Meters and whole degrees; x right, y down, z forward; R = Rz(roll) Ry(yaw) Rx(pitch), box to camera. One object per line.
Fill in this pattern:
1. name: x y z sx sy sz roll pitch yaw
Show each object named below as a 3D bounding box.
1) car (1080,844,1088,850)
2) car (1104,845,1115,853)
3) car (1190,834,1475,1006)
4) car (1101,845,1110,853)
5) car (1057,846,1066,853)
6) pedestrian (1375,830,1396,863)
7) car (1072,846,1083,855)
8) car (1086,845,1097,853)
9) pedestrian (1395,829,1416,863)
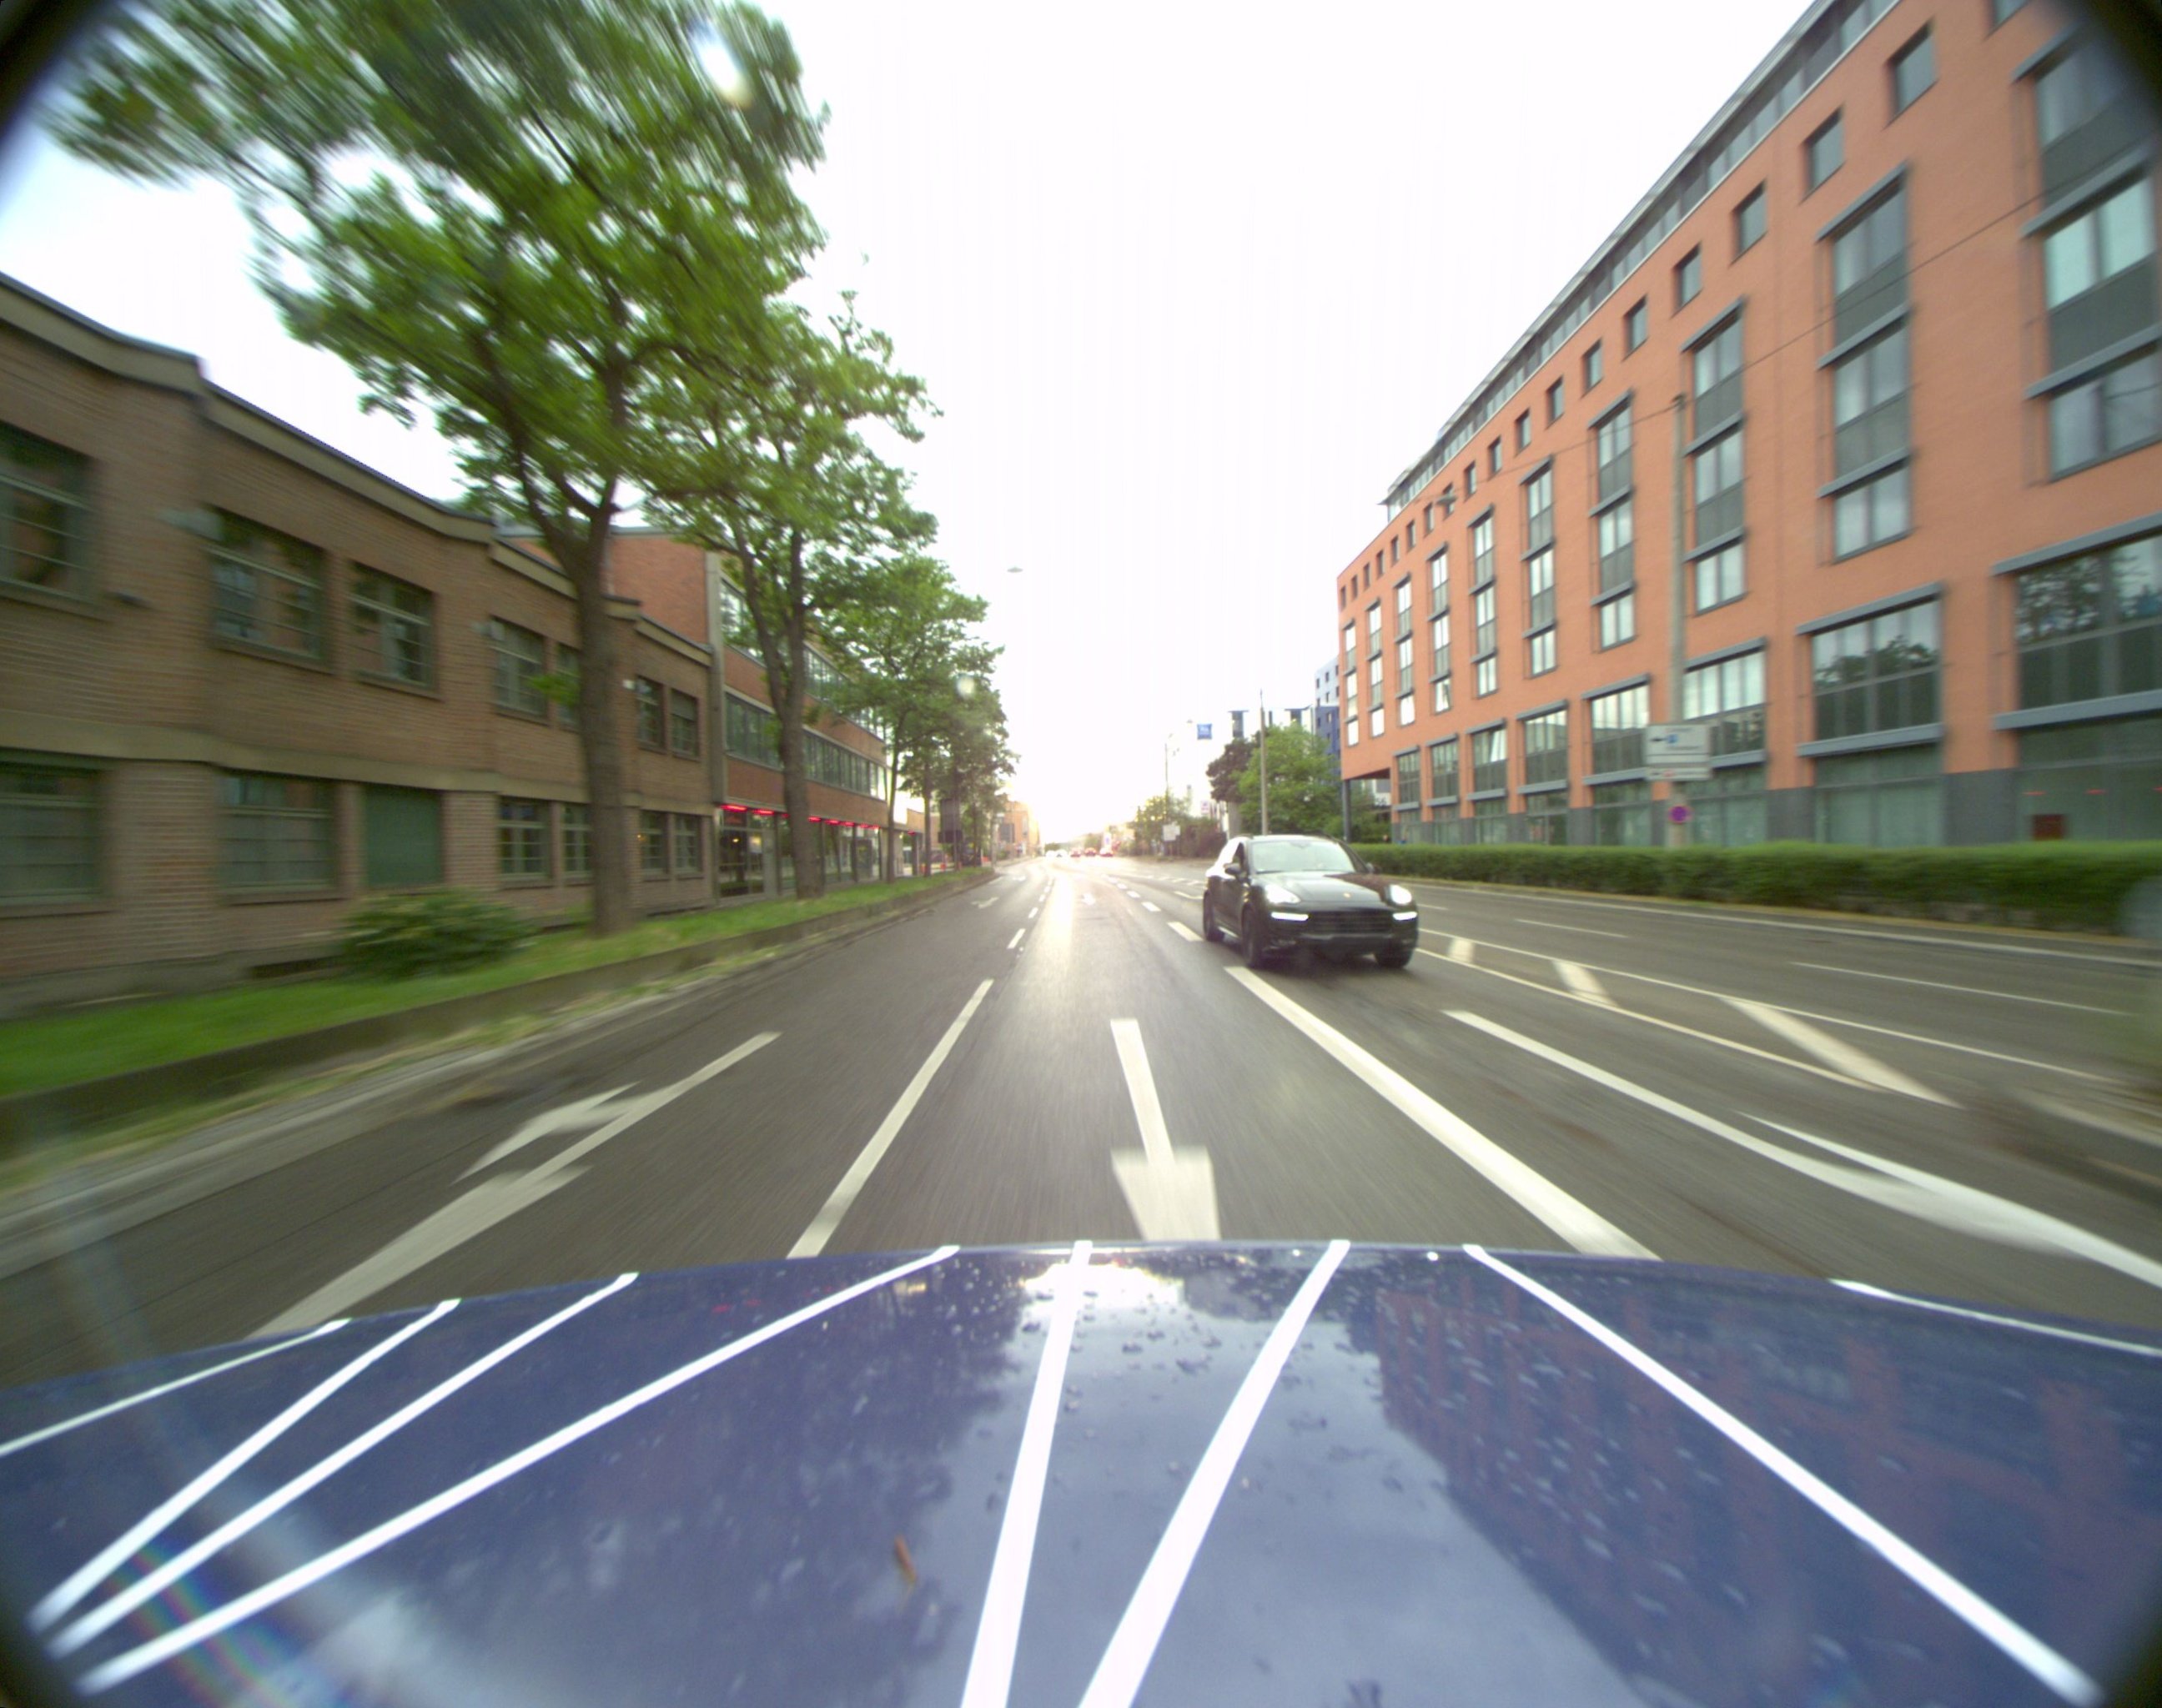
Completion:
1. car: 0.837 -1.760 198.170 1.999 1.543 3.999 -2 1 -1
2. car: 5.539 -0.932 146.661 1.767 1.559 3.998 0 1 -3
3. car: 2.905 0.640 10.302 1.999 1.656 5.423 -2 0 -1
4. car: 5.299 -1.118 164.024 1.767 1.559 3.998 0 1 -2
5. car: -3.919 -0.901 156.149 1.799 1.501 4.000 -1 0 -1
6. pedestrian: 17.079 -0.427 42.623 0.747 1.830 0.885 -3 1 -1
7. car: -0.730 -0.681 147.842 1.999 1.543 3.999 -2 1 -1
8. car: 2.127 -0.988 154.932 1.999 1.543 3.999 -2 1 -1
9. pedestrian: 18.073 -0.462 42.339 0.747 1.830 0.885 -3 1 -1
